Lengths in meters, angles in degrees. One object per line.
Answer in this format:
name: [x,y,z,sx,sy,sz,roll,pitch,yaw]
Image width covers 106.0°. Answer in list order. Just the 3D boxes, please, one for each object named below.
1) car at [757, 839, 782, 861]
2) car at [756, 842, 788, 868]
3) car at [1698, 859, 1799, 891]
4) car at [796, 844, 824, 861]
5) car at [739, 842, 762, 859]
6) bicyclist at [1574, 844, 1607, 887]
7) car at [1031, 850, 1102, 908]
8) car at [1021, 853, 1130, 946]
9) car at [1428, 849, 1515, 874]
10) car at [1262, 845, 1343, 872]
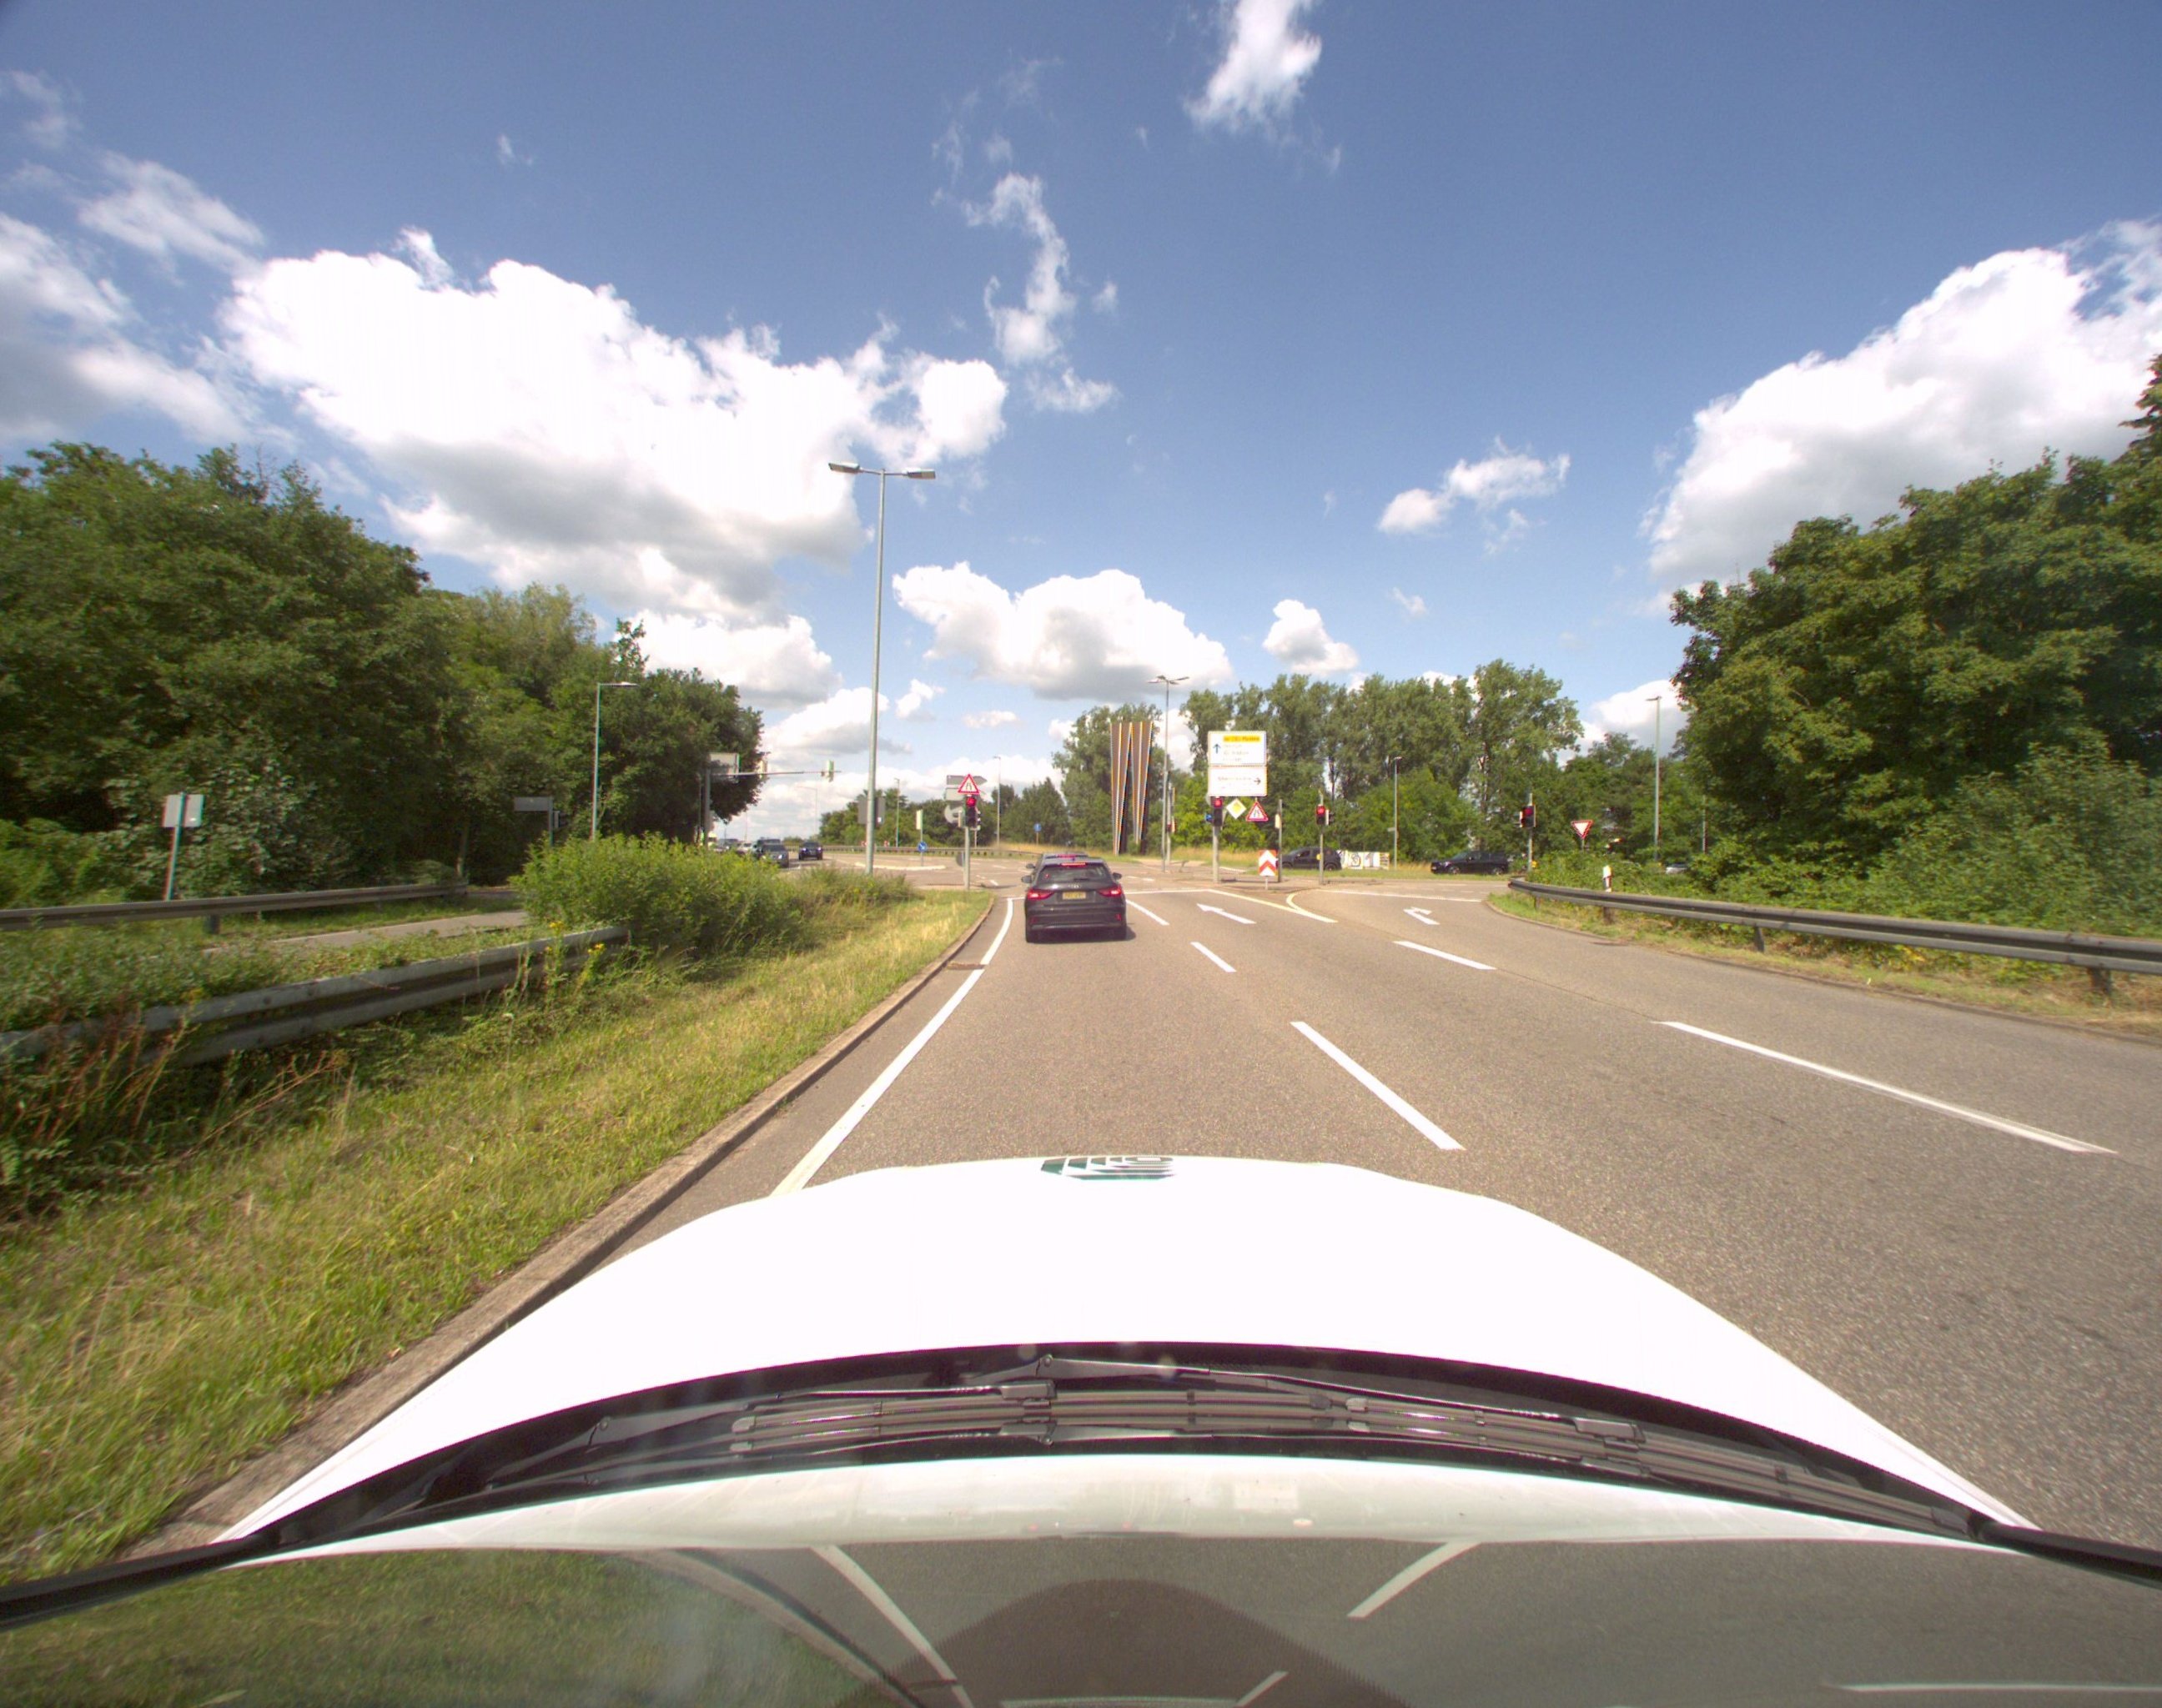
car: [-25.572,-0.329,66.758,1.850,1.802,4.295,0,0,-22]
car: [-20.077,0.065,52.923,1.846,1.618,3.971,0,-1,-21]
car: [34.309,1.064,41.907,4.028,1.476,1.733,2,0,-6]
car: [-23.451,-0.109,70.298,1.956,1.418,3.939,0,0,-24]
car: [-32.743,-0.353,80.593,1.853,1.705,4.289,0,0,-26]
bicyclist: [18.529,0.411,29.640,0.837,1.560,0.667,0,0,-22]
car: [-0.490,0.634,23.018,1.723,1.423,3.838,-2,1,-5]
car: [-0.116,0.738,15.181,1.721,1.404,3.999,-2,1,-1]
car: [25.217,0.470,52.655,4.834,1.545,1.736,0,0,-2]
car: [12.966,0.234,47.774,4.257,1.545,1.736,0,0,-2]
